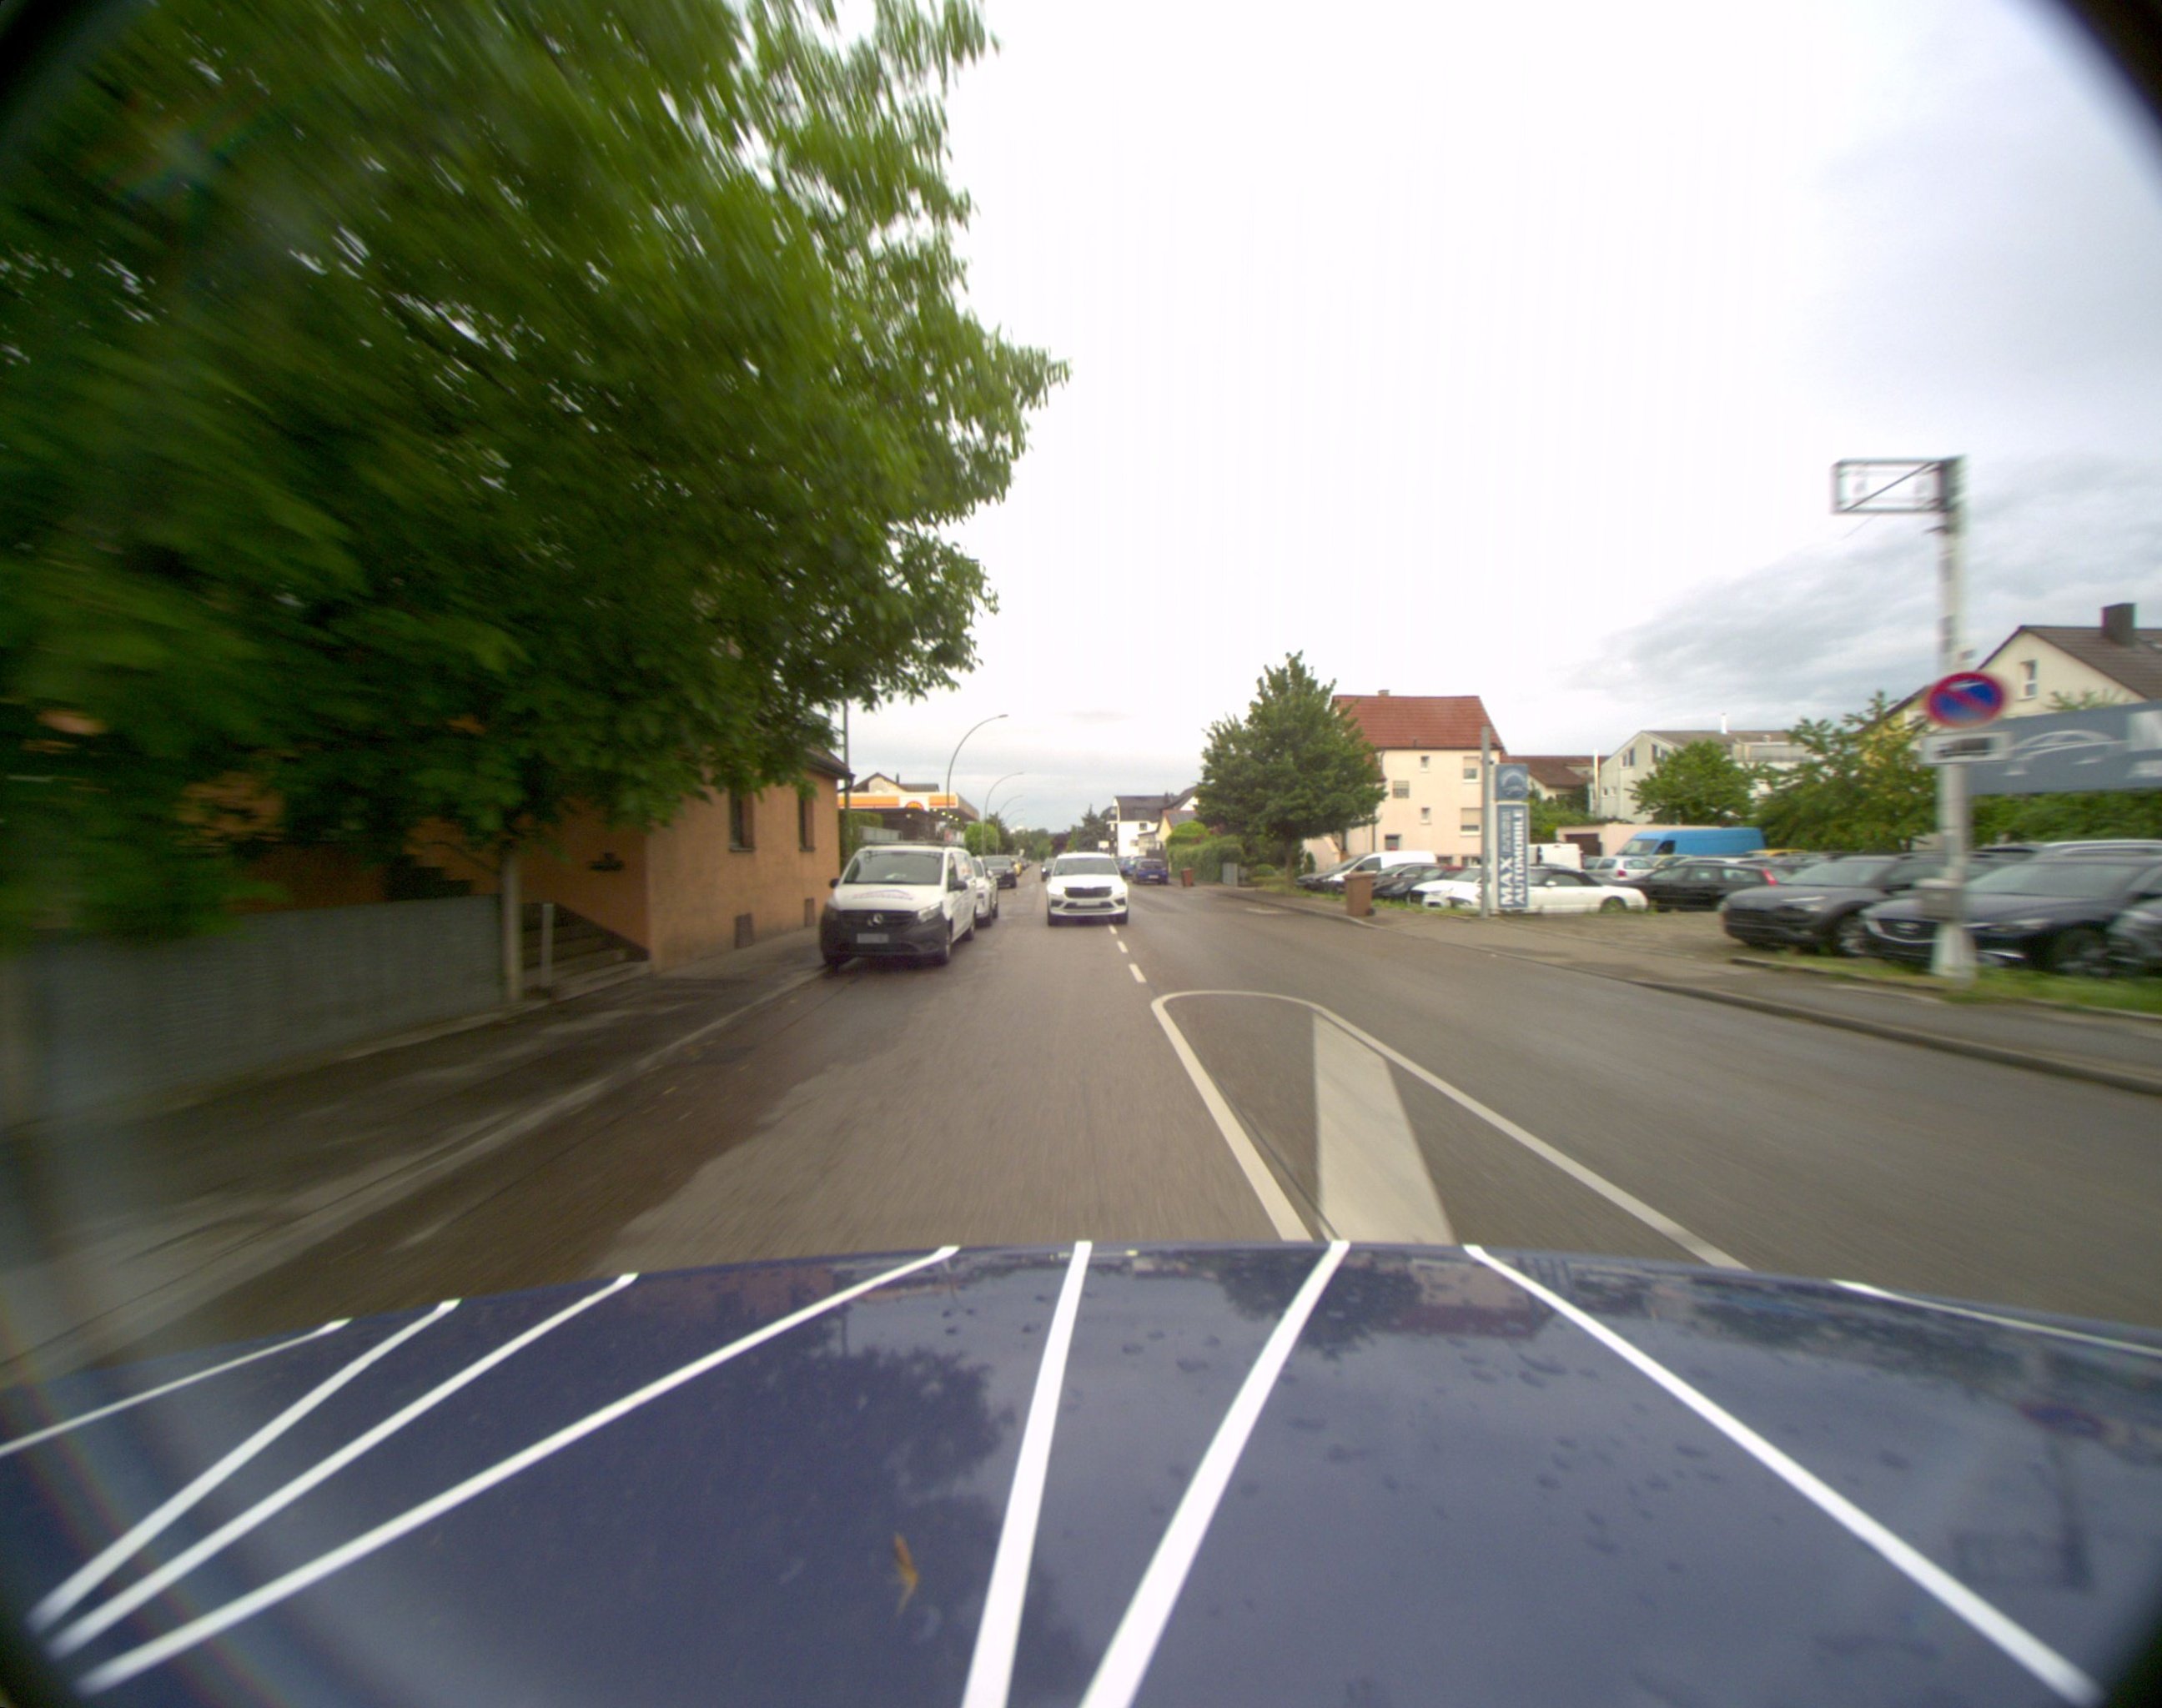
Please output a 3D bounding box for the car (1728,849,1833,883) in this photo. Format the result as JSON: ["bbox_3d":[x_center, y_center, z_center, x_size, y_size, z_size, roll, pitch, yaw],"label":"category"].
[{"bbox_3d":[28.433,0.478,30.913,3.232,1.325,1.337,-1,0,-5],"label":"car"}]

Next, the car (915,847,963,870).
[{"bbox_3d":[-15.770,0.526,84.609,4.810,2.506,2.243,-1,0,-25],"label":"car"}]

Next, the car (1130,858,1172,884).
[{"bbox_3d":[3.999,0.945,43.848,1.812,1.395,3.943,1,0,-3],"label":"car"}]

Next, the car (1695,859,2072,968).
[{"bbox_3d":[12.232,0.856,11.773,3.998,1.455,1.839,-1,0,-2],"label":"car"}]

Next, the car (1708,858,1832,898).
[{"bbox_3d":[23.786,0.810,26.269,3.232,1.325,1.337,-1,0,-5],"label":"car"}]

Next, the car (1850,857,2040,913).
[{"bbox_3d":[23.813,0.796,21.068,1.340,1.407,3.226,-1,0,-26],"label":"car"}]

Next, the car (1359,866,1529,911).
[{"bbox_3d":[11.489,1.062,24.245,4.570,1.302,1.888,-1,0,-3],"label":"car"}]

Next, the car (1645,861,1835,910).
[{"bbox_3d":[19.122,0.865,22.283,1.622,1.250,3.995,-1,0,-15],"label":"car"}]

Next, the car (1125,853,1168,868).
[{"bbox_3d":[6.865,0.721,79.792,4.097,1.505,1.882,-1,0,-7],"label":"car"}]

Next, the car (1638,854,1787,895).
[{"bbox_3d":[20.602,0.632,24.981,1.664,1.228,3.530,-1,0,-9],"label":"car"}]

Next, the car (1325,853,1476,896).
[{"bbox_3d":[11.210,0.685,26.771,4.572,1.410,1.896,-1,0,-7],"label":"car"}]

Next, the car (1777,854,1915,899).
[{"bbox_3d":[24.062,0.685,23.944,3.232,1.325,1.337,-1,0,-5],"label":"car"}]

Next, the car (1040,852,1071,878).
[{"bbox_3d":[-1.667,0.695,48.552,1.778,1.552,3.998,-2,0,-4],"label":"car"}]

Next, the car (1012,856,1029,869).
[{"bbox_3d":[-7.490,1.014,93.666,1.999,1.586,3.999,0,0,-5],"label":"car"}]

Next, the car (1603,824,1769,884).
[{"bbox_3d":[26.038,-0.003,32.826,5.686,2.361,2.046,-1,1,-3],"label":"car"}]

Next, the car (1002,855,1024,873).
[{"bbox_3d":[-5.497,0.788,61.773,1.661,1.393,3.800,-1,0,-4],"label":"car"}]

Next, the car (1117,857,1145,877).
[{"bbox_3d":[3.572,0.895,54.433,1.550,1.395,3.596,1,0,-3],"label":"car"}]

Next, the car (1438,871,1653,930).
[{"bbox_3d":[11.701,1.155,19.320,4.464,1.324,1.770,-1,0,-3],"label":"car"}]

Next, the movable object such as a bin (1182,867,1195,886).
[{"bbox_3d":[5.480,1.137,38.694,0.541,0.905,0.424,-4,1,-4],"label":"movable object such as a bin"}]

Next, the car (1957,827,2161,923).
[{"bbox_3d":[17.872,0.311,12.586,3.992,1.491,1.940,-1,0,16],"label":"car"}]

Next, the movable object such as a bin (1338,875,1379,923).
[{"bbox_3d":[6.857,1.101,18.806,0.710,1.123,0.735,-1,1,-3],"label":"movable object such as a bin"}]

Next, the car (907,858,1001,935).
[{"bbox_3d":[-3.072,0.958,19.259,1.871,1.655,4.318,-1,0,-4],"label":"car"}]

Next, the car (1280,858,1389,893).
[{"bbox_3d":[10.552,0.858,31.770,3.923,1.364,1.760,-1,0,-7],"label":"car"}]

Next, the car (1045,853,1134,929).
[{"bbox_3d":[0.072,0.823,19.080,1.885,1.650,4.829,0,0,-3],"label":"car"}]

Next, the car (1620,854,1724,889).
[{"bbox_3d":[23.438,0.671,30.183,3.232,1.325,1.337,-1,0,-5],"label":"car"}]

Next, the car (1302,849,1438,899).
[{"bbox_3d":[11.129,0.736,29.383,4.572,1.779,1.896,-1,0,-7],"label":"car"}]

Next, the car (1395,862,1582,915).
[{"bbox_3d":[11.603,0.962,21.798,4.388,1.366,1.888,-1,0,-3],"label":"car"}]

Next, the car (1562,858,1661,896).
[{"bbox_3d":[19.953,0.835,28.708,1.389,1.325,3.114,-1,0,-5],"label":"car"}]

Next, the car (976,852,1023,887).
[{"bbox_3d":[-4.190,0.794,39.860,2.097,1.652,4.558,-2,-1,-2],"label":"car"}]

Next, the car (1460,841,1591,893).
[{"bbox_3d":[17.773,0.494,30.719,1.999,1.919,5.051,0,0,-6],"label":"car"}]

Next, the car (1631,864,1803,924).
[{"bbox_3d":[16.735,0.982,20.145,1.340,1.407,3.226,-1,0,-26],"label":"car"}]

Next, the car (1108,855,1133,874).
[{"bbox_3d":[3.227,0.855,62.223,1.613,1.497,3.706,1,0,-3],"label":"car"}]

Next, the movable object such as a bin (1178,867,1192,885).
[{"bbox_3d":[5.355,1.127,39.190,0.541,0.905,0.505,-4,1,-4],"label":"movable object such as a bin"}]

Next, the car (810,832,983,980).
[{"bbox_3d":[-2.899,0.762,13.037,1.782,2.017,4.754,-2,-1,-1],"label":"car"}]

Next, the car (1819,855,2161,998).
[{"bbox_3d":[11.997,0.777,9.185,4.359,1.455,1.941,-1,0,-2],"label":"car"}]

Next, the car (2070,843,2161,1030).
[{"bbox_3d":[11.921,0.709,6.521,4.359,1.681,2.058,-1,0,-2],"label":"car"}]

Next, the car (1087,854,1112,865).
[{"bbox_3d":[3.084,0.919,127.523,3.999,1.637,1.999,-5,0,-5],"label":"car"}]

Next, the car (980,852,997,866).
[{"bbox_3d":[-11.732,0.617,95.968,2.000,1.673,3.997,-1,0,-8],"label":"car"}]
